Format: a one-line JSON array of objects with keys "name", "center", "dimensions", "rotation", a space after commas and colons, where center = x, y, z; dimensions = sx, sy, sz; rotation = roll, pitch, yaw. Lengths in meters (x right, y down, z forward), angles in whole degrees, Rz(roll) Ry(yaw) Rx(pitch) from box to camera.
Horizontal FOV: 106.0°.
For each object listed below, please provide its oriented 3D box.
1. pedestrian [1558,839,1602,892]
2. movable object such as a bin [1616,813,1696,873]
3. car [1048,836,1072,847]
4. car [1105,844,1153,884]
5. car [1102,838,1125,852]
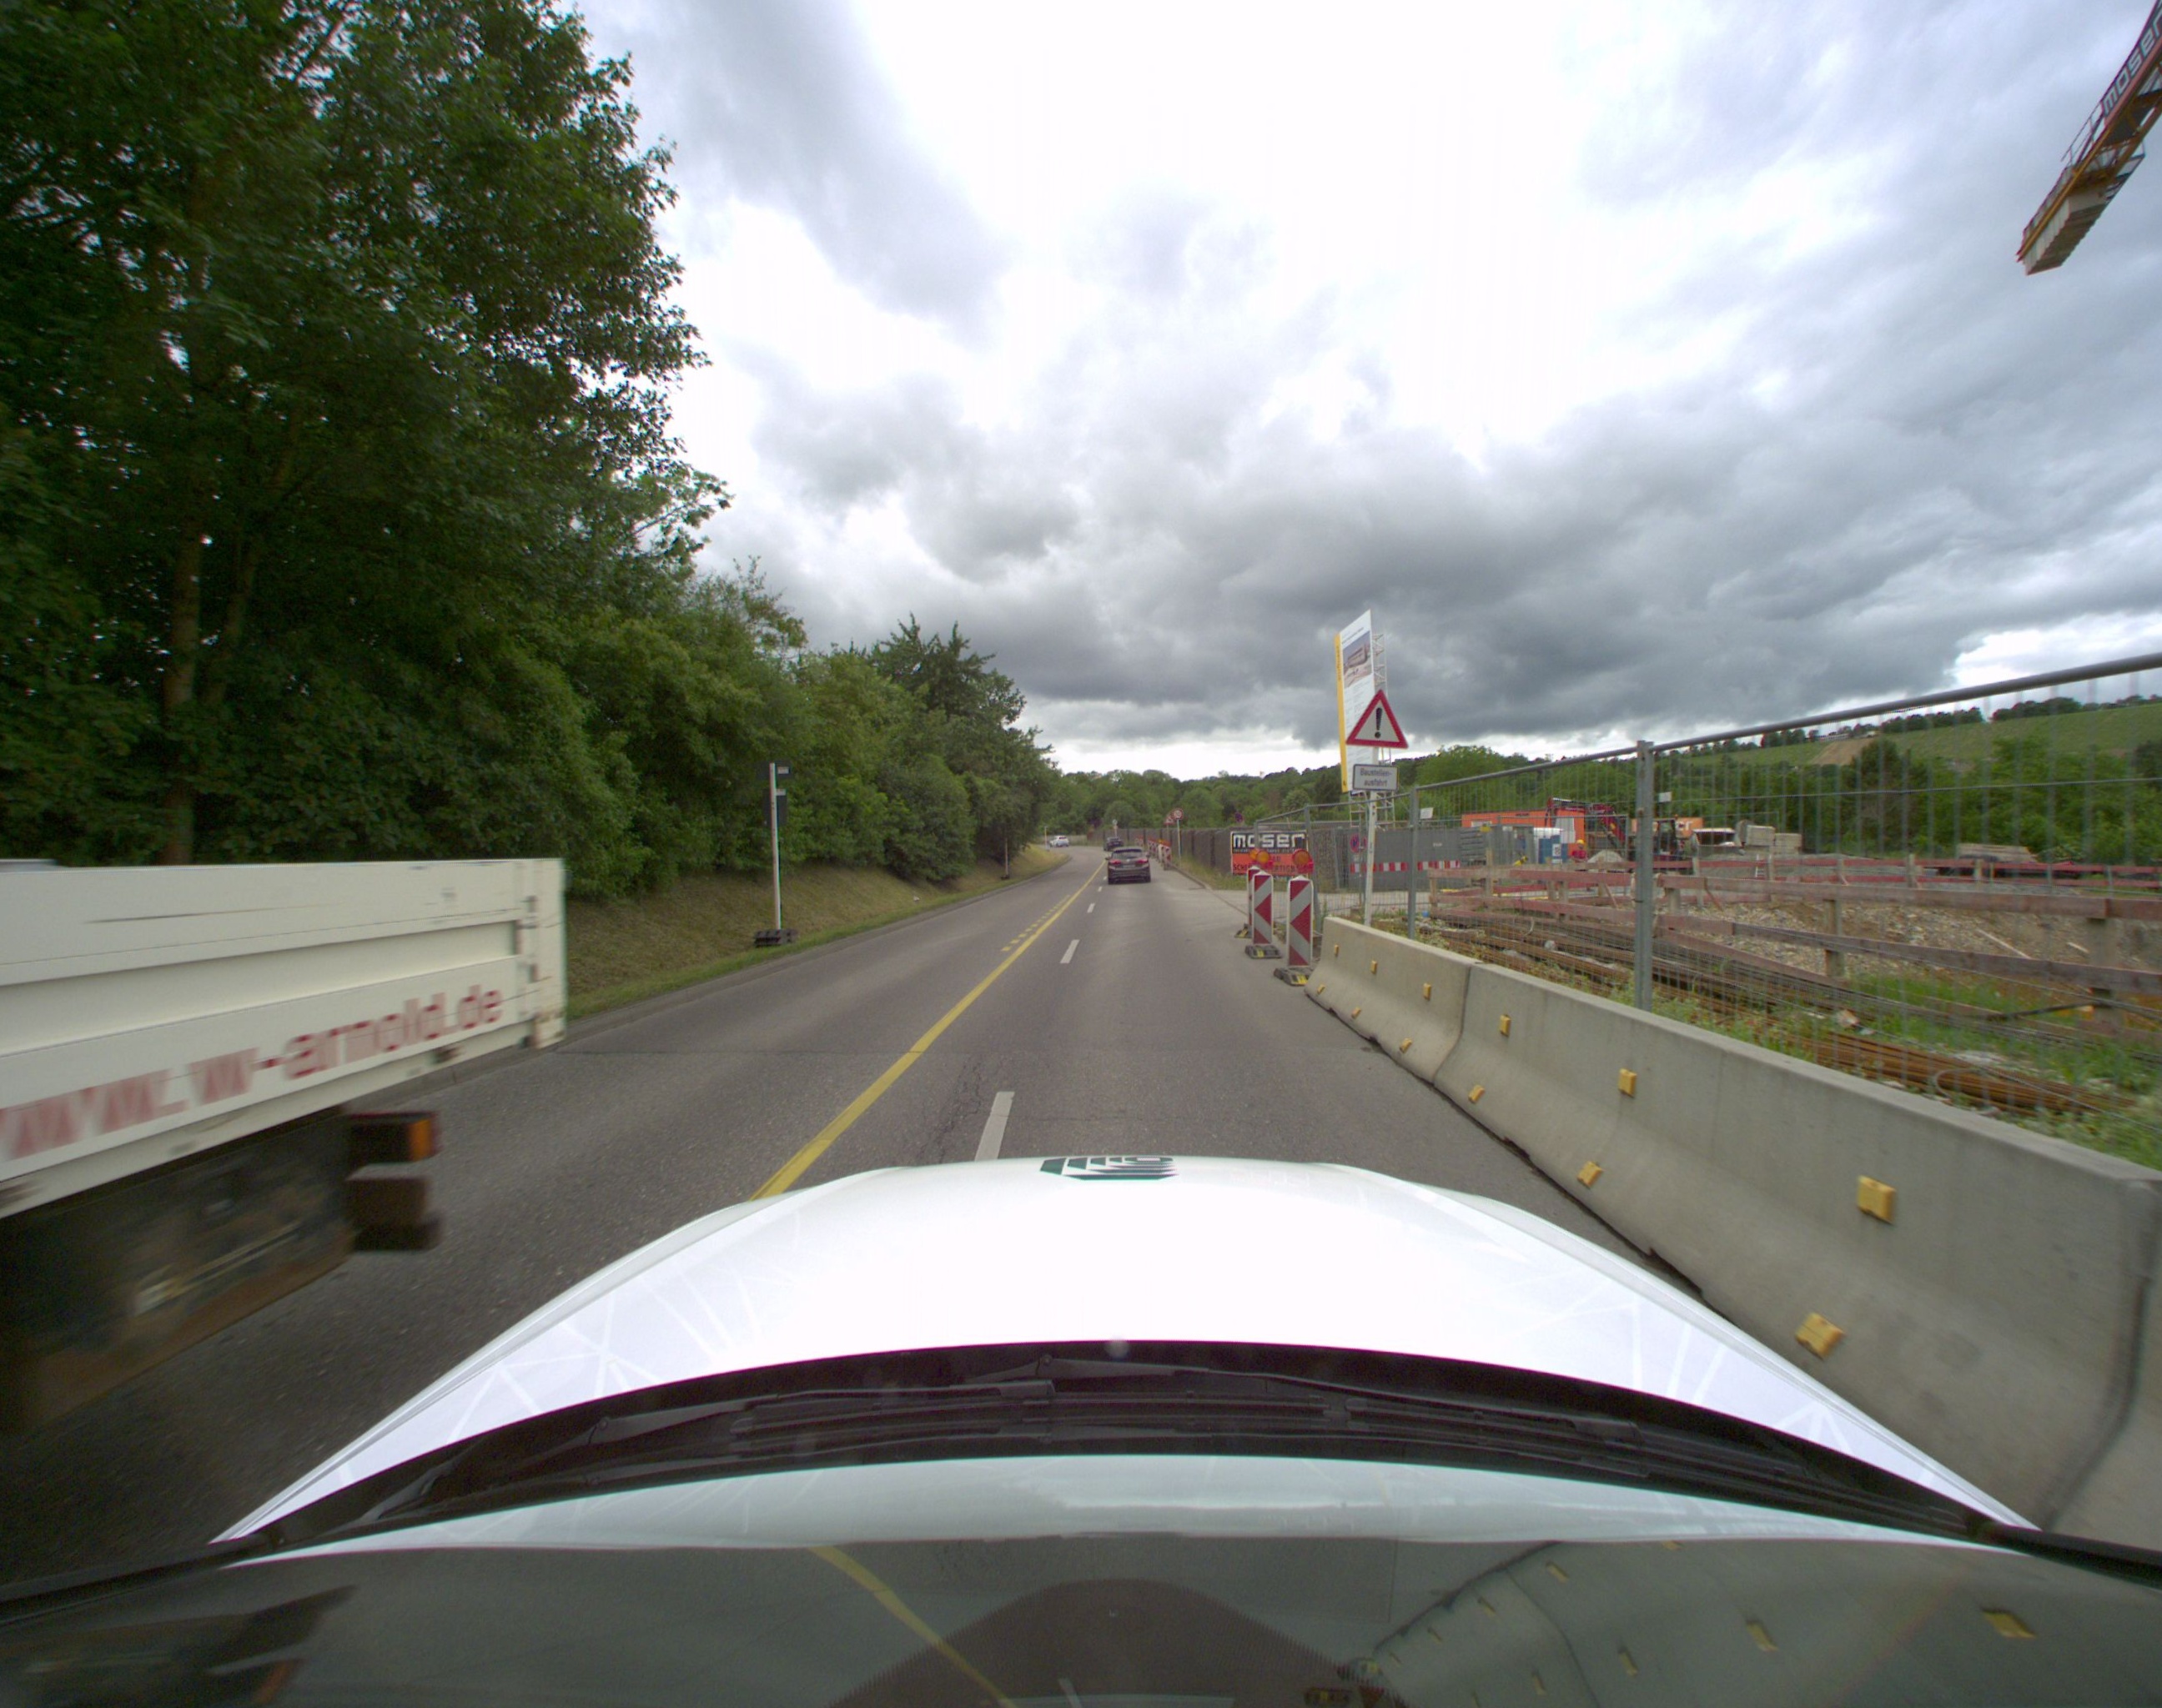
[{"name": "pedestrian", "center": [18.604, 0.428, 30.394], "dimensions": [0.824, 1.901, 1.152], "rotation": [0, -1, -8]}, {"name": "movable object such as a bin", "center": [26.087, -0.461, 36.952], "dimensions": [2.708, 2.585, 2.012], "rotation": [-1, -1, 43]}, {"name": "car", "center": [-2.858, -1.723, 110.314], "dimensions": [1.842, 1.438, 3.886], "rotation": [-2, 3, -26]}, {"name": "car", "center": [1.993, 0.381, 34.881], "dimensions": [1.833, 1.483, 4.002], "rotation": [-4, 1, 2]}, {"name": "car", "center": [3.412, -0.923, 85.999], "dimensions": [1.778, 1.453, 3.847], "rotation": [0, -1, -8]}]
